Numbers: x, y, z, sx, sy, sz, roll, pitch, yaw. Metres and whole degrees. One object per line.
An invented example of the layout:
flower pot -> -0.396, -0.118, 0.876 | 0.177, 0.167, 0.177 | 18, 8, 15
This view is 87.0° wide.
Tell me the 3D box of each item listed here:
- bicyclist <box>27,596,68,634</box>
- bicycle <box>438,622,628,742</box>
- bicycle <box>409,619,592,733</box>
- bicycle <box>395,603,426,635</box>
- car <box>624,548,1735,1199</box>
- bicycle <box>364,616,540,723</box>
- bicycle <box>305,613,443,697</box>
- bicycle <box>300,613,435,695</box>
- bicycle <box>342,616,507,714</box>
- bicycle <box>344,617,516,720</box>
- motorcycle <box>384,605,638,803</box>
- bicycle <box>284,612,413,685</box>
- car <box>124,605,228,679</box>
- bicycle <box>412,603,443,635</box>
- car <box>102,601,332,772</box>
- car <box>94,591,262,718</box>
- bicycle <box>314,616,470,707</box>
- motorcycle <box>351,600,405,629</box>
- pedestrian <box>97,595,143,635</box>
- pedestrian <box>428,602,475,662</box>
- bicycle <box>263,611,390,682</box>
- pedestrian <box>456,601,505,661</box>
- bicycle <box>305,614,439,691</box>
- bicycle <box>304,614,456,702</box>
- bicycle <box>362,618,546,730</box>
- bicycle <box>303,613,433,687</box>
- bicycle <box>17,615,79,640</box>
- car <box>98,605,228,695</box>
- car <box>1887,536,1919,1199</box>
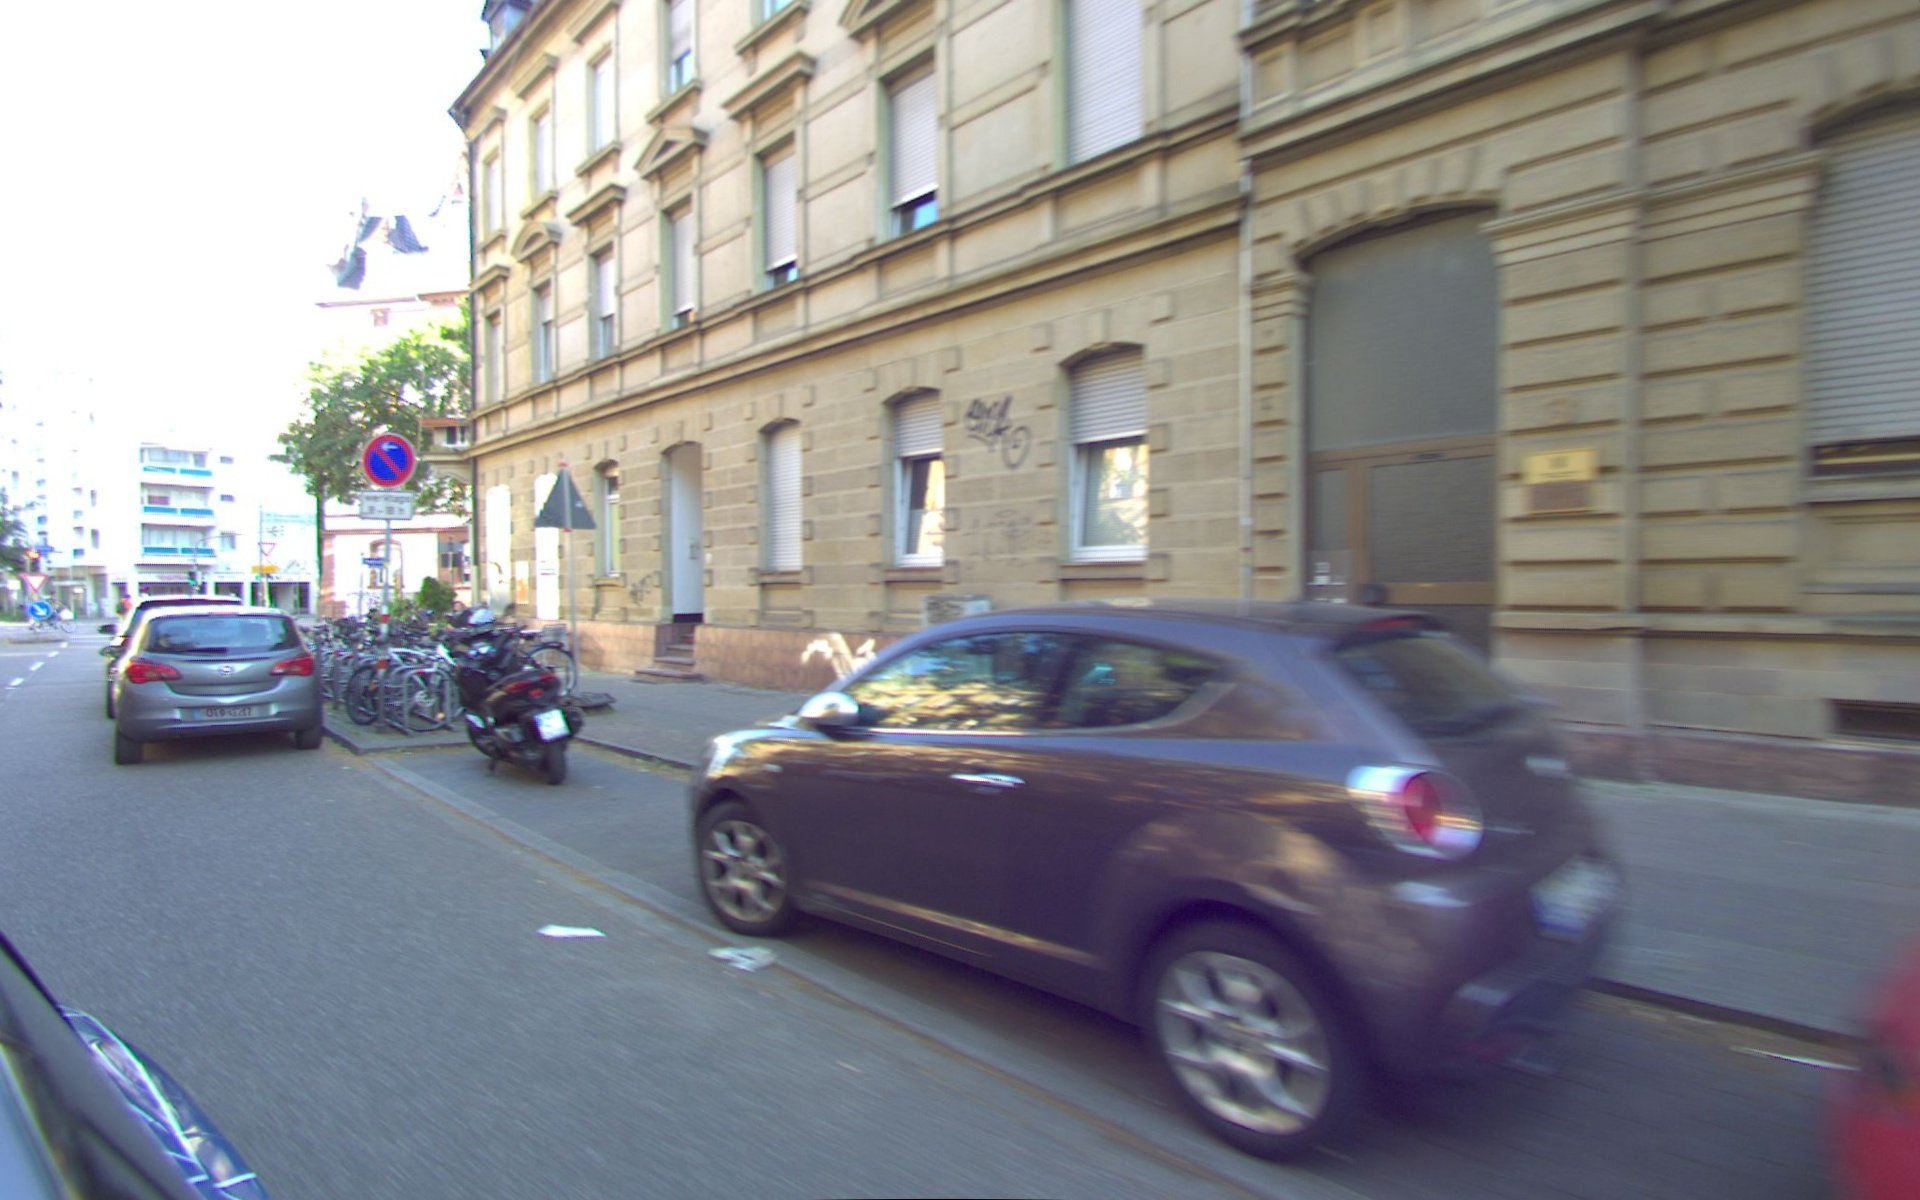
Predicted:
bicyclist -> -38.650, 0.626, 42.867 | 0.629, 1.565, 1.075 | -2, 1, 17
bicycle -> -4.689, 0.858, 11.215 | 1.845, 1.137, 0.529 | -3, 2, -43
bicycle -> -5.319, 0.840, 11.811 | 1.845, 1.137, 0.529 | -3, 2, -43
bicycle -> -21.634, 0.720, 39.838 | 0.539, 1.205, 2.964 | -1, 0, -39
car -> 0.412, 0.647, 4.064 | 1.738, 1.512, 4.063 | -3, 2, -43
bicycle -> -6.235, 0.816, 12.493 | 1.845, 1.137, 0.529 | -3, 2, -43
bicycle -> -8.944, 0.807, 15.542 | 0.525, 1.137, 1.858 | -1, 2, 24
bicycle -> -9.332, 0.814, 16.014 | 0.525, 1.137, 1.858 | -1, 2, 24
bicycle -> -7.132, 0.832, 13.539 | 1.845, 1.137, 0.529 | -3, 2, -43
bicycle -> -6.755, 0.834, 12.969 | 1.845, 1.137, 0.529 | -3, 2, -43
motorcycle -> -3.821, 0.748, 8.452 | 1.054, 1.380, 2.608 | -2, 1, -45
bicycle -> -10.710, 0.817, 17.756 | 1.844, 1.137, 0.529 | -3, 2, -41
car -> -17.730, 0.866, 22.936 | 1.736, 1.499, 4.147 | 0, 0, -38
bicycle -> -21.182, 0.723, 40.211 | 0.539, 1.205, 2.964 | -1, 0, -39
car -> -8.228, 0.788, 11.058 | 1.737, 1.512, 4.066 | 0, -1, -41
car -> -11.678, 0.714, 15.119 | 1.736, 1.612, 4.559 | 0, -1, -39
bicycle -> -8.093, 0.840, 14.473 | 1.845, 1.137, 0.529 | -3, 2, -43
motorcycle -> -26.843, 0.672, 46.736 | 0.837, 1.274, 2.095 | -1, 0, 22
pedestrian -> -36.181, 0.655, 43.599 | 0.999, 1.692, 1.167 | -1, 0, 18
pedestrian -> -11.211, 0.687, 22.292 | 0.757, 1.268, 0.717 | 0, 0, 45
bicycle -> -11.311, 0.806, 18.119 | 1.844, 1.137, 0.529 | -3, 2, -41
pedestrian -> -10.164, 0.648, 21.447 | 0.757, 1.223, 0.717 | 0, 0, 45
bicycle -> -9.763, 0.844, 16.851 | 1.844, 1.137, 0.529 | -3, 2, -41
bicycle -> -8.530, 0.826, 14.949 | 1.845, 1.137, 0.529 | -3, 2, -43
bicycle -> -5.946, 0.834, 11.964 | 1.845, 1.137, 0.529 | -3, 2, -43
bicycle -> -10.160, 0.831, 17.406 | 1.844, 1.137, 0.529 | -3, 2, -41
bicycle -> -38.622, 1.150, 42.904 | 0.629, 0.919, 1.869 | -2, 1, 17
car -> -14.913, 0.839, 19.040 | 1.735, 1.462, 4.560 | 0, 0, -37
car -> 3.202, 0.599, 0.634 | 1.573, 1.486, 3.705 | -3, 1, -41
